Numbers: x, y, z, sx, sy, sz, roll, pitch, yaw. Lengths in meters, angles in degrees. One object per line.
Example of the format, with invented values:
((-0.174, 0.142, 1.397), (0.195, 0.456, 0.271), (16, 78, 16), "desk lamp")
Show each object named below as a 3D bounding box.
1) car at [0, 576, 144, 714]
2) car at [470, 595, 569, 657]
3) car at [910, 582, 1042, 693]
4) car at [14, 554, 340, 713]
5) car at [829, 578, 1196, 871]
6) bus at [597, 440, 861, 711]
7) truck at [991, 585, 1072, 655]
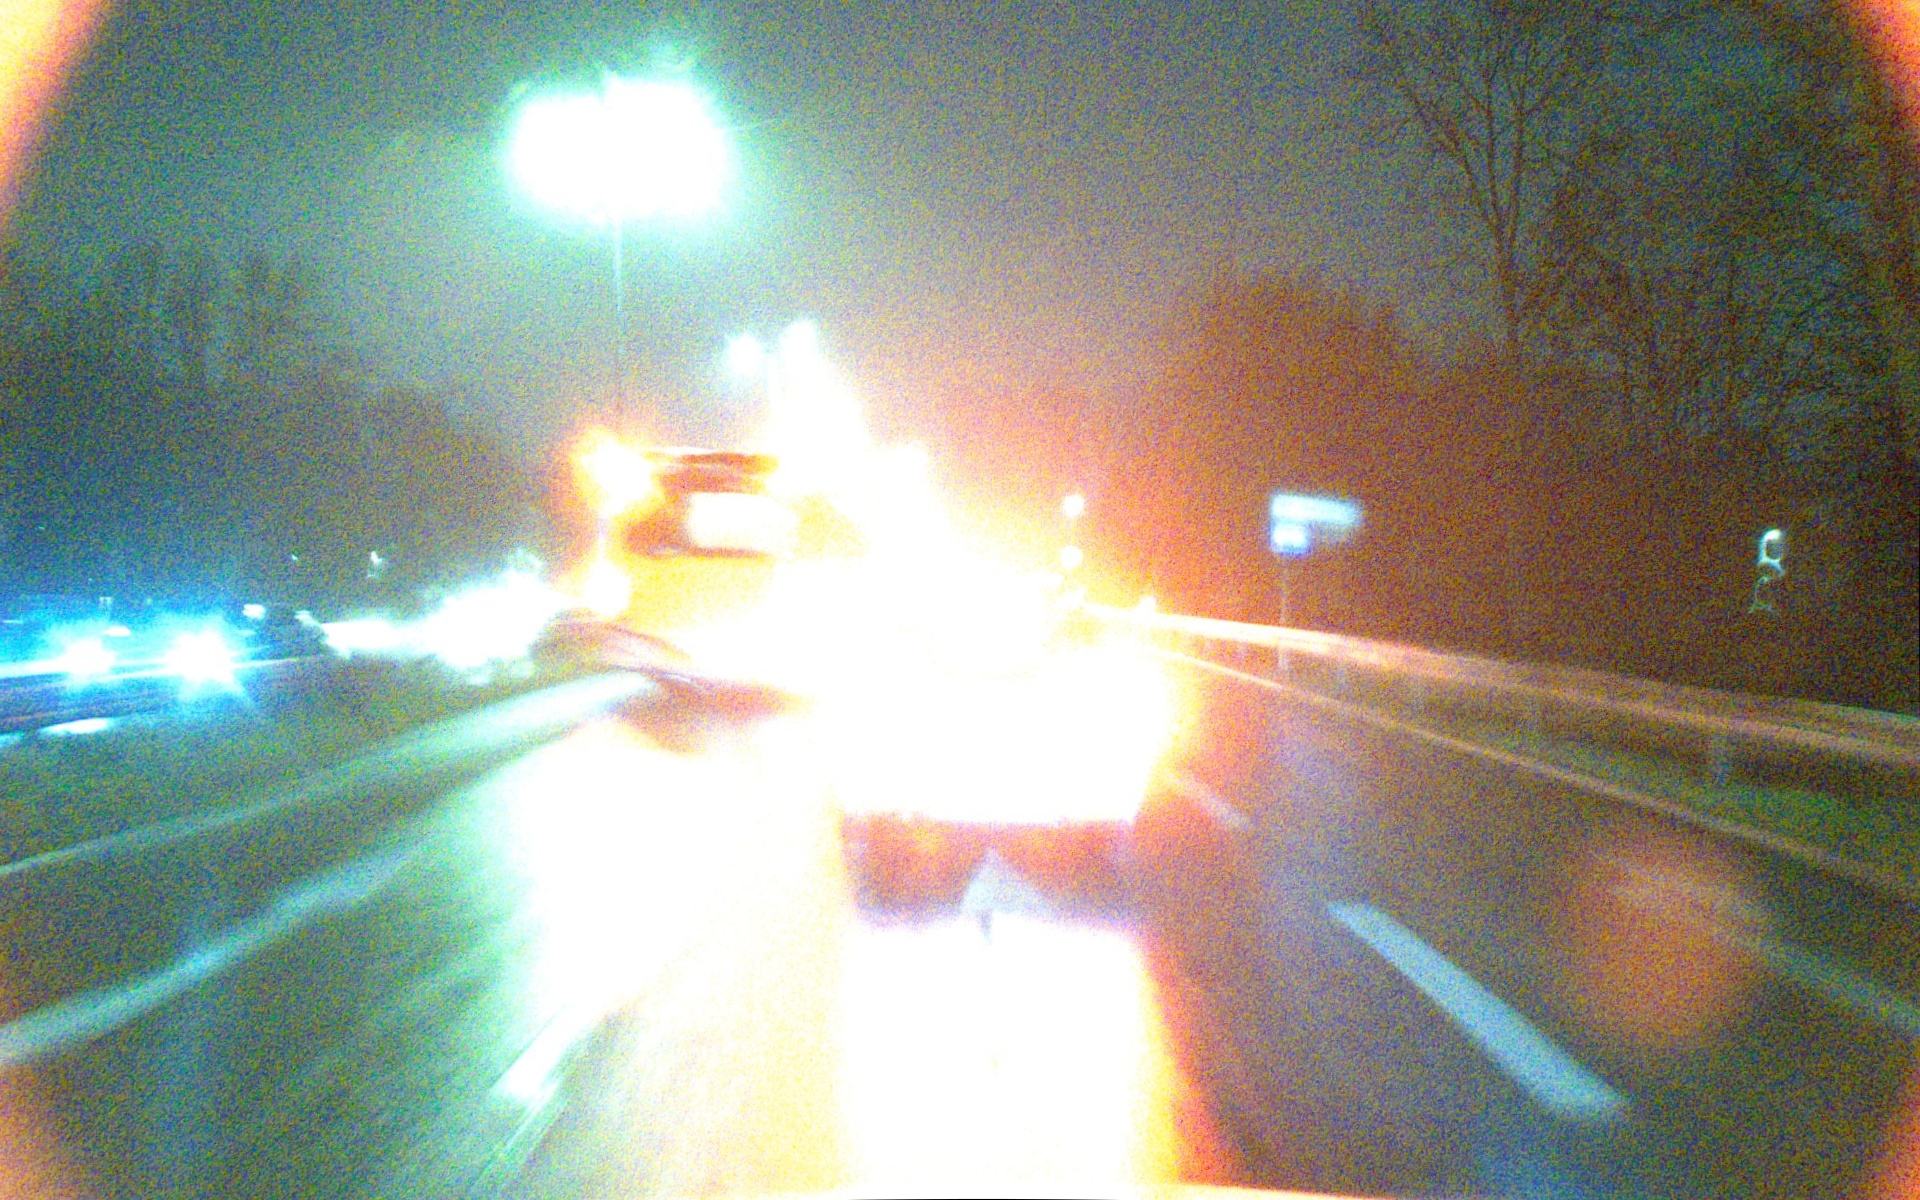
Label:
((-13.555, 0.574, 23.200), (1.953, 1.805, 4.703), (2, -1, -2), "car")
((-13.914, 0.821, 52.477), (1.953, 1.840, 4.199), (2, -1, 0), "car")
((0.209, 0.509, 24.419), (1.784, 1.487, 3.715), (1, 0, 0), "car")
((-10.100, 0.429, 21.837), (2.121, 1.805, 4.703), (2, -1, -2), "car")
((0.249, 0.653, 10.525), (1.905, 1.517, 3.715), (1, 0, -1), "car")
((-3.062, -0.350, 24.580), (2.688, 3.178, 9.199), (2, 1, -1), "bus")
((2.931, 0.819, 67.053), (3.005, 2.573, 7.169), (2, -1, 3), "truck")
